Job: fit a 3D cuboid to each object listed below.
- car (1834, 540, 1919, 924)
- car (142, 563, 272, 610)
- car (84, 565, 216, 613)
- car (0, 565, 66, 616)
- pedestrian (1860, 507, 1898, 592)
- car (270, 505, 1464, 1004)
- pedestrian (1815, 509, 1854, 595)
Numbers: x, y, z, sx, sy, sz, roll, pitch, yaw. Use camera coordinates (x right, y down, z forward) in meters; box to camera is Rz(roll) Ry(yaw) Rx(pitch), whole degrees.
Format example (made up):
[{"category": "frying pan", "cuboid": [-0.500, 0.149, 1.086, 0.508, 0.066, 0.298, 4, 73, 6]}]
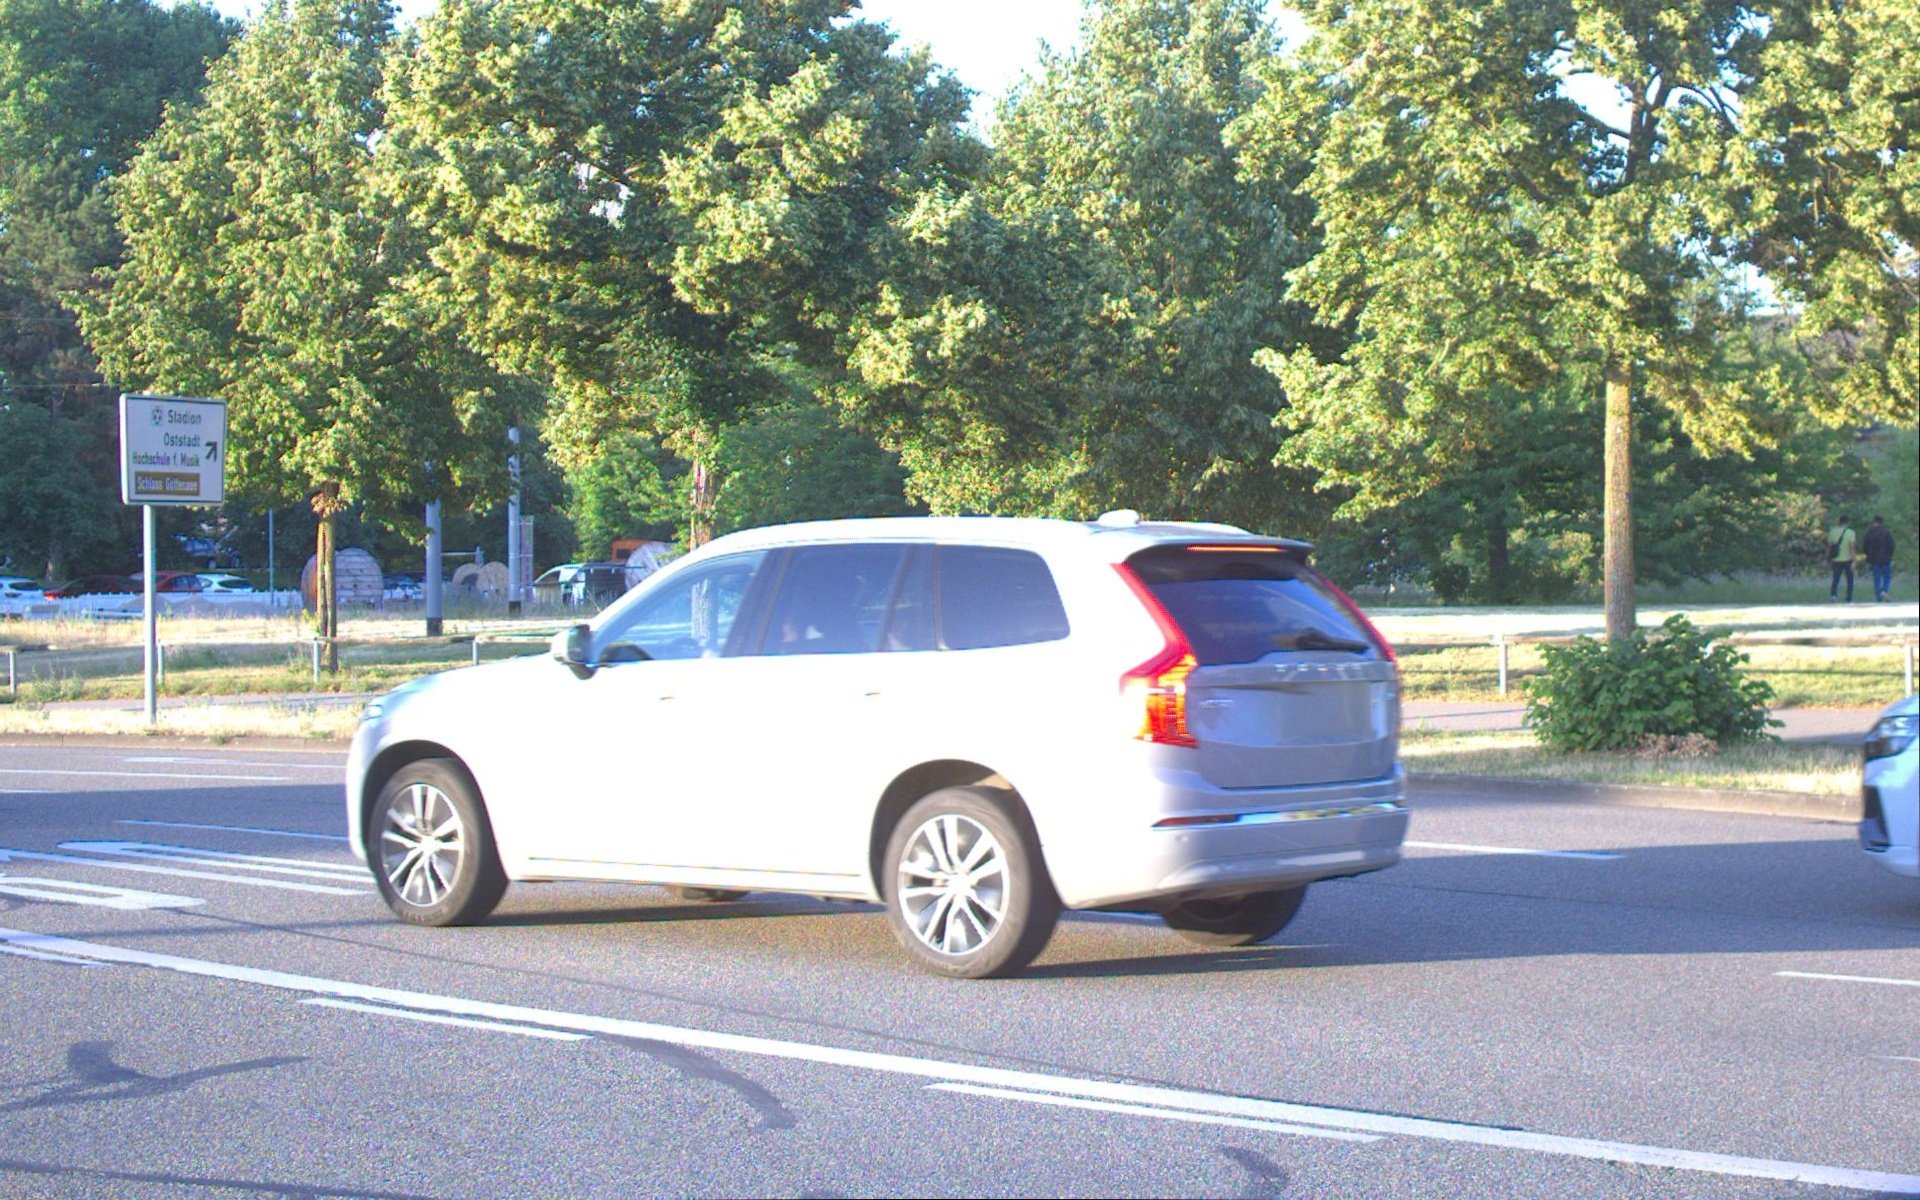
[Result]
[{"category": "car", "cuboid": [6.487, 0.609, 14.785, 4.936, 1.704, 1.909, 1, 2, 38]}, {"category": "car", "cuboid": [-25.408, -0.471, 115.930, 3.994, 1.545, 1.997, 0, 1, 31]}, {"category": "car", "cuboid": [-26.909, -0.369, 114.162, 3.994, 1.545, 1.997, 0, 1, 31]}, {"category": "car", "cuboid": [-30.250, -0.318, 107.914, 3.994, 1.545, 1.997, 0, 1, 31]}, {"category": "pedestrian", "cuboid": [17.494, -0.964, 65.437, 0.530, 1.621, 0.619, 0, 1, 35]}, {"category": "car", "cuboid": [-0.527, 0.535, 14.345, 4.916, 1.748, 1.918, 0, 0, 39]}, {"category": "pedestrian", "cuboid": [16.658, -0.916, 65.515, 0.532, 1.621, 0.579, 0, 1, 38]}]
